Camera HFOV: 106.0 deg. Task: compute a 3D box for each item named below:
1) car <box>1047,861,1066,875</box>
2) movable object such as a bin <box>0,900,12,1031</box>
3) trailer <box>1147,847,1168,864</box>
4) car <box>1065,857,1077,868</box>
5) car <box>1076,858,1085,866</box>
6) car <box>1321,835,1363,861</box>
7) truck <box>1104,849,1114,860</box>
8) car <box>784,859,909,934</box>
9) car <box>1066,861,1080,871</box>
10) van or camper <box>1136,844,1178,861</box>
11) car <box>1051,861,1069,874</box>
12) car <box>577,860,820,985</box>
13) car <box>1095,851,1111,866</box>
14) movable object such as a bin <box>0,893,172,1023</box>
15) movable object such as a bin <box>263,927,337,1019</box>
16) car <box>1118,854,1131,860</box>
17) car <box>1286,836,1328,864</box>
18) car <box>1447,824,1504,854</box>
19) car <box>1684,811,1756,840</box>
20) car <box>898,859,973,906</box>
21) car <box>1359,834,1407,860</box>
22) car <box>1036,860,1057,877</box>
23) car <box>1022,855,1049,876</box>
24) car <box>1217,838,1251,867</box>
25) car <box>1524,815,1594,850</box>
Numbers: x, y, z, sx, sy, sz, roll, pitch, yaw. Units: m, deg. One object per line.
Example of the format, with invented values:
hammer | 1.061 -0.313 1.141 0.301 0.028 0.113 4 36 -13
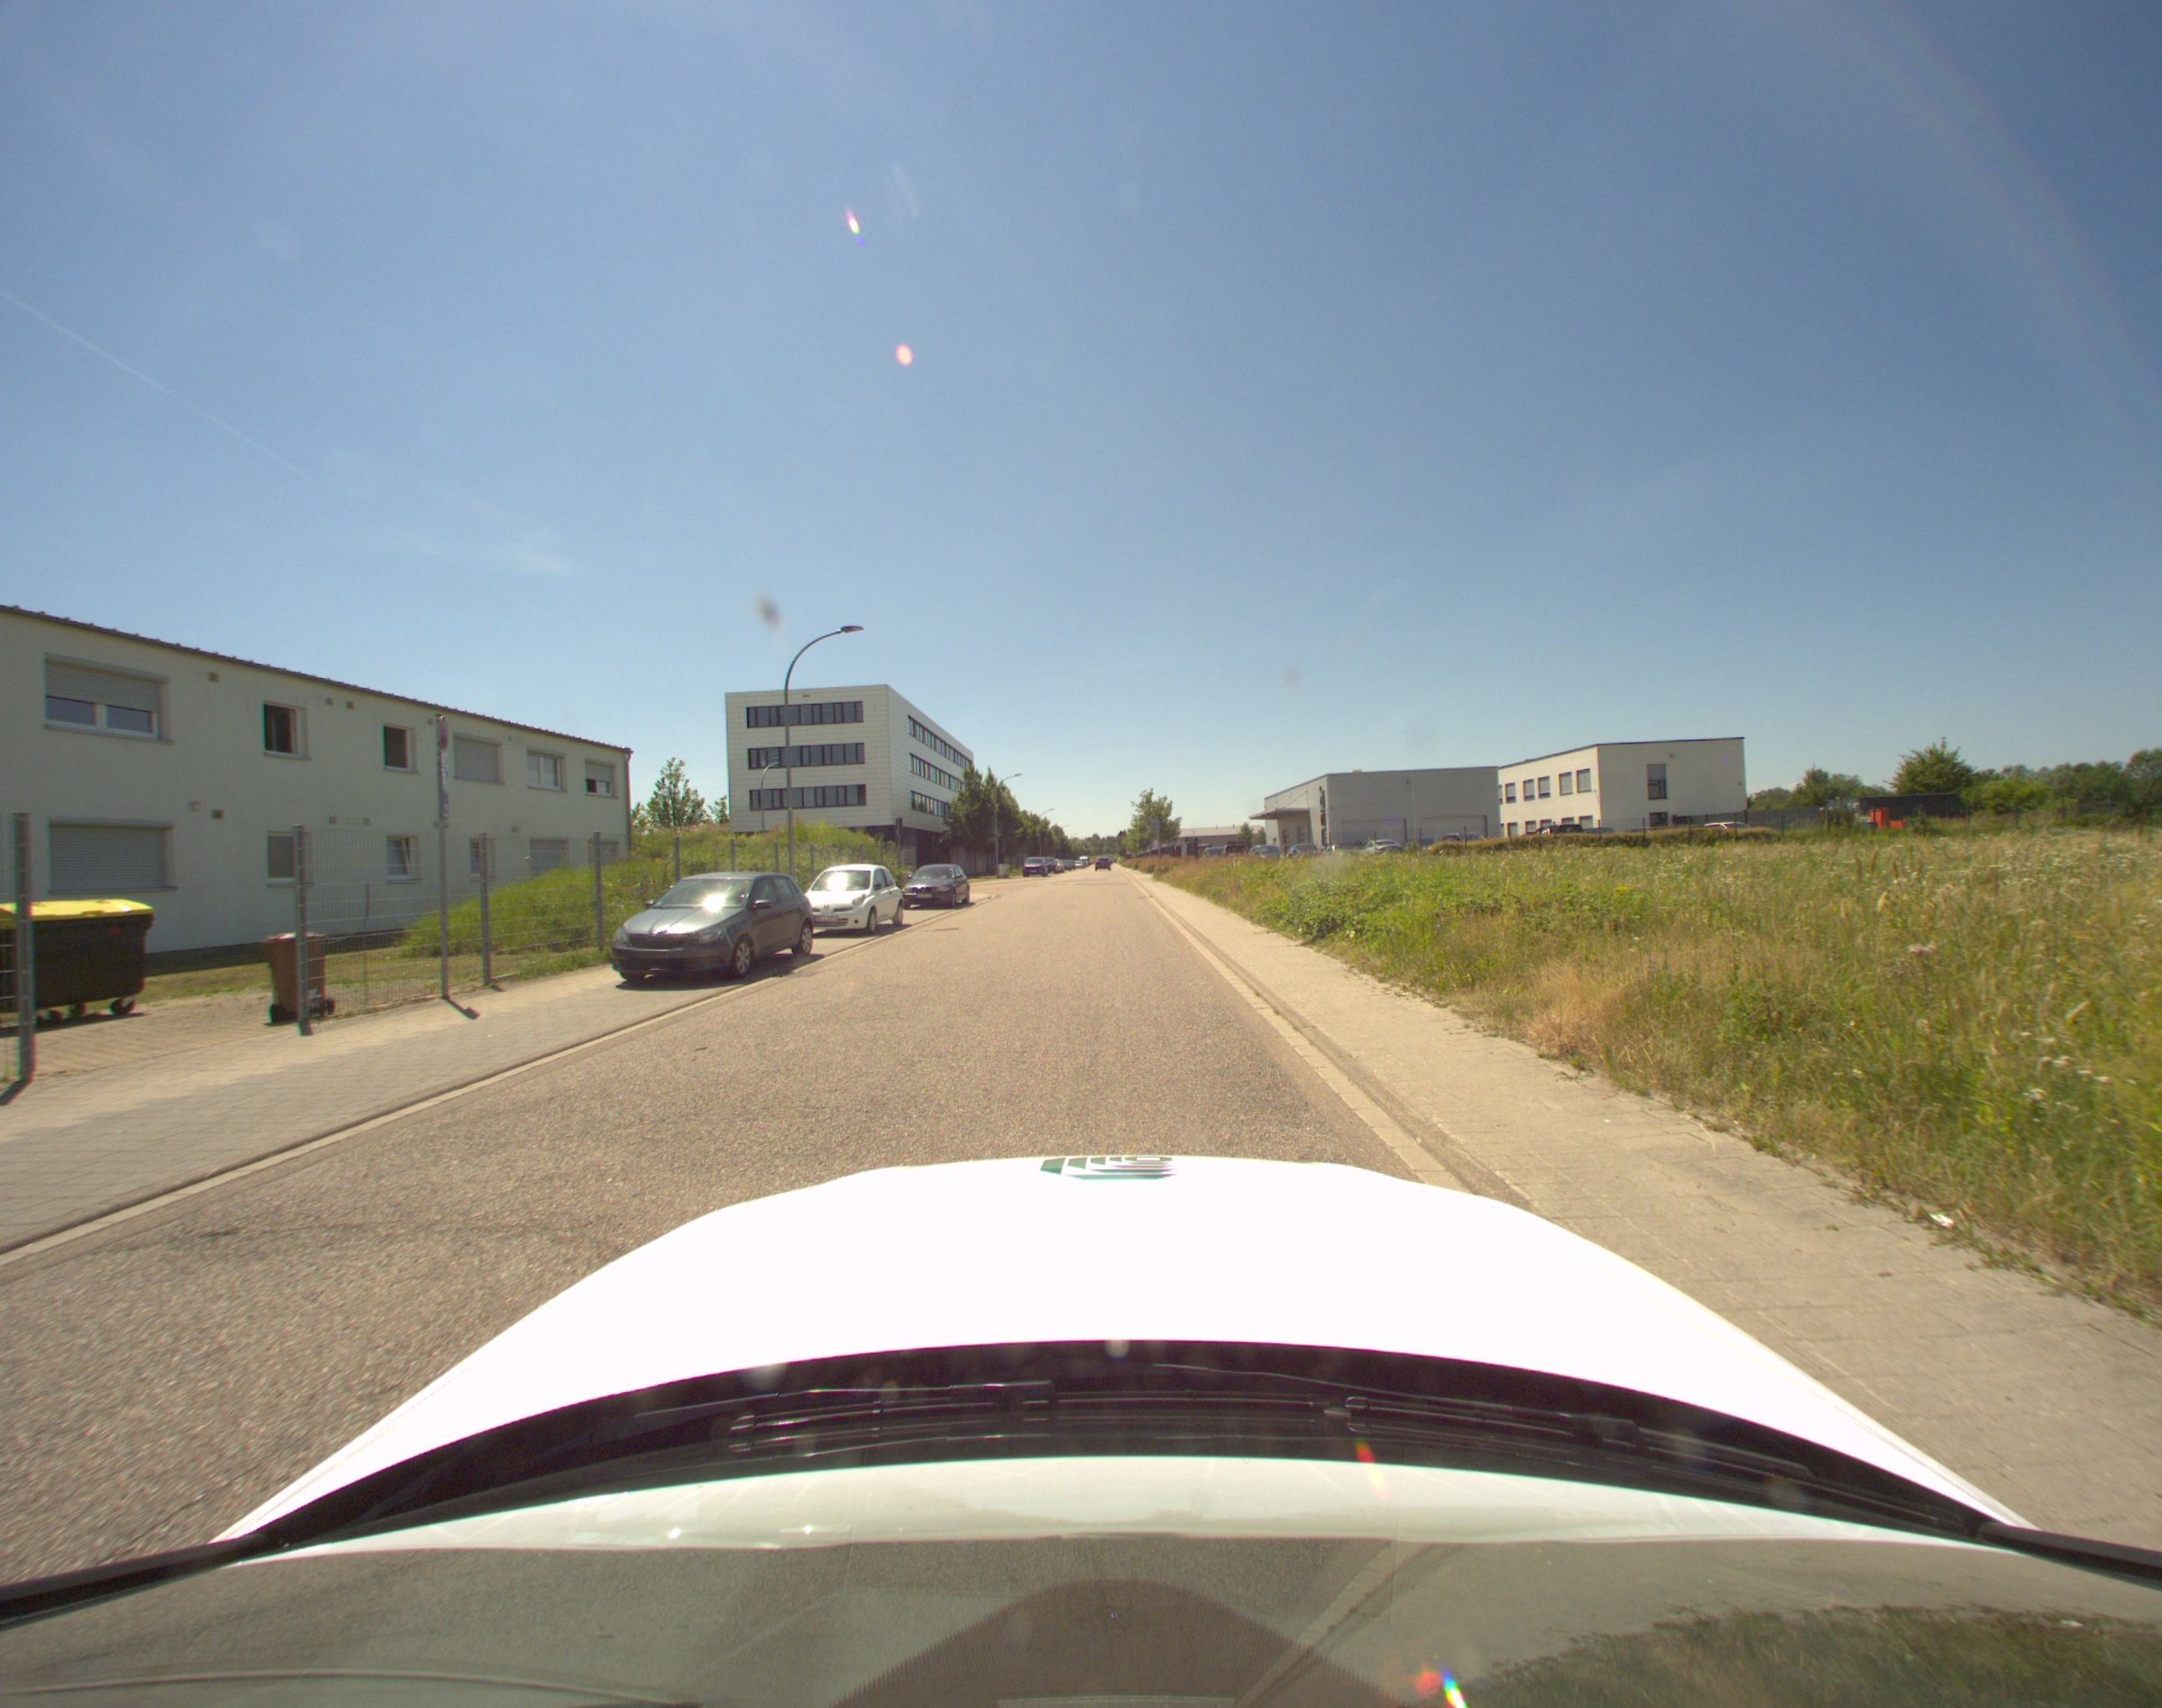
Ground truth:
car | -2.598 1.443 87.362 1.764 1.431 4.202 -1 -1 2
movable object such as a bin | -12.514 1.247 8.410 1.084 1.448 1.389 -2 -1 0
trailer | 11.383 0.230 121.808 2.815 2.403 1.418 -4 -1 -3
car | -1.579 1.384 133.368 1.765 1.611 4.247 -2 -1 1
car | -0.065 1.658 164.939 1.715 1.476 3.856 -2 -1 -1
car | 15.575 -0.342 48.710 1.452 1.412 3.332 -3 -1 1
truck | 8.182 0.126 237.605 2.921 2.974 6.422 -1 -1 2
car | -5.275 0.894 18.789 1.668 1.530 3.759 -1 -1 2
car | -1.158 1.678 115.229 1.764 1.431 4.202 -1 -1 2
van or camper | 12.881 -0.235 137.959 6.734 2.585 2.636 -3 -1 0
car | -2.367 1.484 92.074 1.764 1.431 3.941 -1 -1 2
car | -5.455 0.877 12.235 1.668 1.530 3.911 -2 -1 2
car | 2.490 0.521 93.387 1.783 1.623 3.810 -1 -1 2
movable object such as a bin | -12.405 1.219 9.889 1.137 1.405 1.389 -2 -1 4
movable object such as a bin | -8.649 1.306 9.033 0.303 0.940 0.497 -2 -1 4
car | 13.700 0.966 255.276 3.864 1.750 1.751 -1 -1 -1
car | 13.398 -0.227 48.430 1.509 1.496 3.332 -3 -1 1
car | 23.406 -0.857 48.393 1.509 1.633 3.784 -3 -1 1
car | 39.214 -1.710 50.045 1.521 1.526 3.648 -3 -1 1
car | -4.873 0.915 27.742 1.668 1.450 4.070 -1 -1 2
car | 17.798 -0.370 48.099 1.509 1.397 3.540 -3 -1 1
car | -3.386 1.386 80.318 1.764 1.624 4.584 -1 -1 2
car | -3.758 0.920 67.382 1.764 1.588 4.482 -2 -1 2
car | 8.957 -0.069 47.846 1.461 1.574 2.663 -3 -1 2
car | 28.596 -1.265 48.875 1.742 1.846 4.126 -3 -1 1
